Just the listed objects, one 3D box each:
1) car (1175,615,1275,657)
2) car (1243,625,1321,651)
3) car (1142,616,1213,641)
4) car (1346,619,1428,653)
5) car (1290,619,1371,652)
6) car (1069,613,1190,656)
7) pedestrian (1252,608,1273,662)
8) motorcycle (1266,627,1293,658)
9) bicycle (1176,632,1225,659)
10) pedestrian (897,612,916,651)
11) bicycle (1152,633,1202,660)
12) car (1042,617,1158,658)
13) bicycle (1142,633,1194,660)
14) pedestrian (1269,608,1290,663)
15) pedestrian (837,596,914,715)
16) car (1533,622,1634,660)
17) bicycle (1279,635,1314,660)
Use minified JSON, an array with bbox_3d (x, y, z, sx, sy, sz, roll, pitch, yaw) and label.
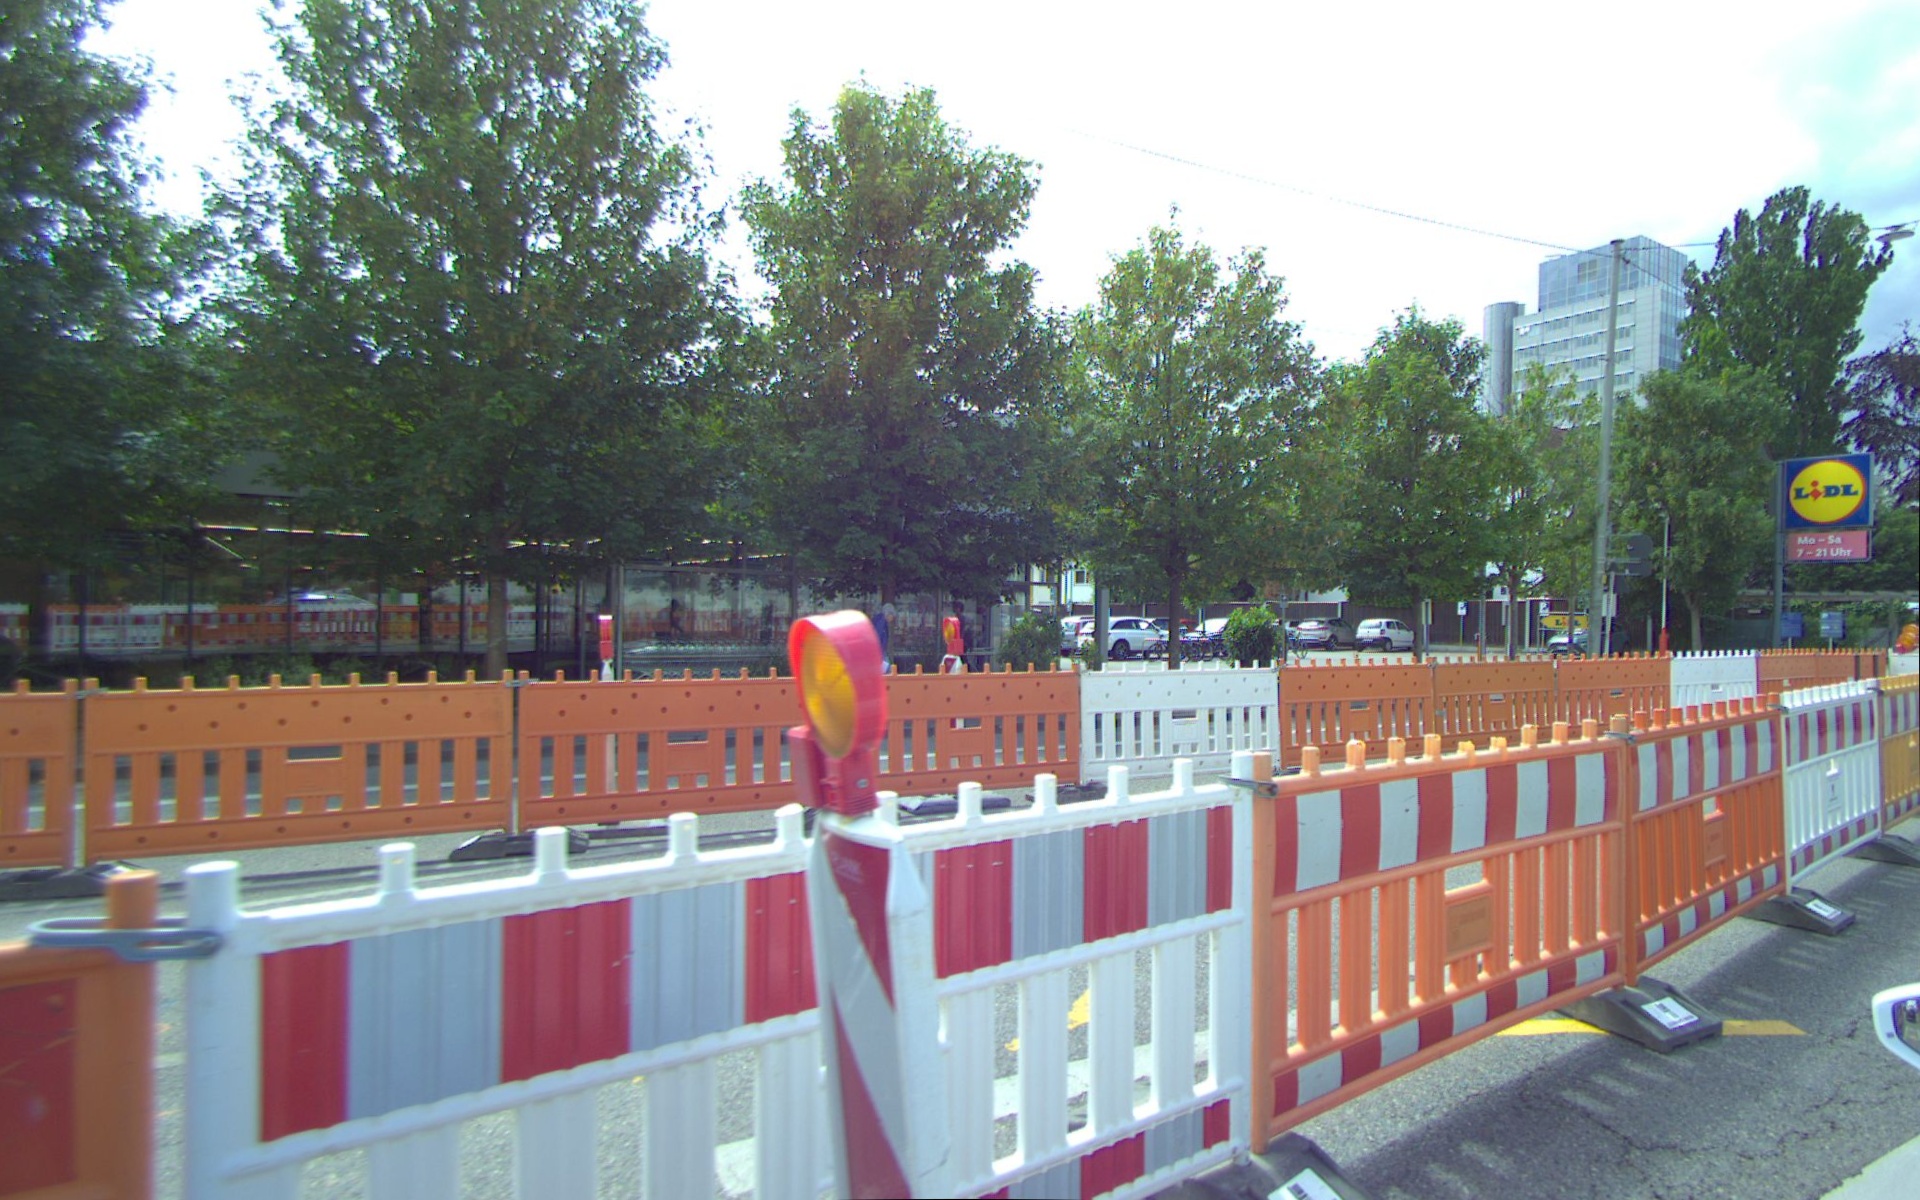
[{"bbox_3d":[11.394,1.535,43.133,3.956,1.718,1.983,1,-1,-32],"label":"car"},{"bbox_3d":[17.024,2.010,53.006,3.961,1.305,1.980,2,-1,-36],"label":"car"},{"bbox_3d":[12.855,1.674,59.407,3.961,1.416,1.980,2,-1,-36],"label":"car"},{"bbox_3d":[20.846,1.748,49.005,3.961,1.572,1.980,2,-1,-36],"label":"car"},{"bbox_3d":[18.700,1.768,50.644,3.961,1.572,1.980,2,-1,-36],"label":"car"},{"bbox_3d":[6.711,1.354,39.644,4.623,1.593,1.982,2,-1,-33],"label":"car"},{"bbox_3d":[10.604,1.231,35.168,0.606,1.884,0.418,1,-1,-35],"label":"pedestrian"},{"bbox_3d":[12.754,1.678,40.099,0.844,1.208,1.957,0,-1,13],"label":"motorcycle"},{"bbox_3d":[9.283,1.746,38.850,1.854,0.970,0.347,0,-1,37],"label":"bicycle"},{"bbox_3d":[-2.266,1.347,42.690,0.600,1.638,0.501,2,-1,-33],"label":"pedestrian"},{"bbox_3d":[8.129,1.723,37.745,1.854,0.970,0.347,0,-1,37],"label":"bicycle"},{"bbox_3d":[5.879,1.558,42.014,4.623,1.593,1.982,2,-1,-33],"label":"car"},{"bbox_3d":[7.661,1.698,36.924,1.847,0.970,0.349,0,-1,15],"label":"bicycle"},{"bbox_3d":[11.018,1.213,34.629,0.606,1.884,0.418,1,-1,-35],"label":"pedestrian"},{"bbox_3d":[-1.206,0.774,14.284,0.821,1.624,0.748,1,-1,-34],"label":"pedestrian"},{"bbox_3d":[25.555,1.678,41.142,3.956,1.472,1.983,2,-1,-32],"label":"car"},{"bbox_3d":[13.687,1.937,40.903,0.309,0.970,1.646,1,-1,-25],"label":"bicycle"}]
